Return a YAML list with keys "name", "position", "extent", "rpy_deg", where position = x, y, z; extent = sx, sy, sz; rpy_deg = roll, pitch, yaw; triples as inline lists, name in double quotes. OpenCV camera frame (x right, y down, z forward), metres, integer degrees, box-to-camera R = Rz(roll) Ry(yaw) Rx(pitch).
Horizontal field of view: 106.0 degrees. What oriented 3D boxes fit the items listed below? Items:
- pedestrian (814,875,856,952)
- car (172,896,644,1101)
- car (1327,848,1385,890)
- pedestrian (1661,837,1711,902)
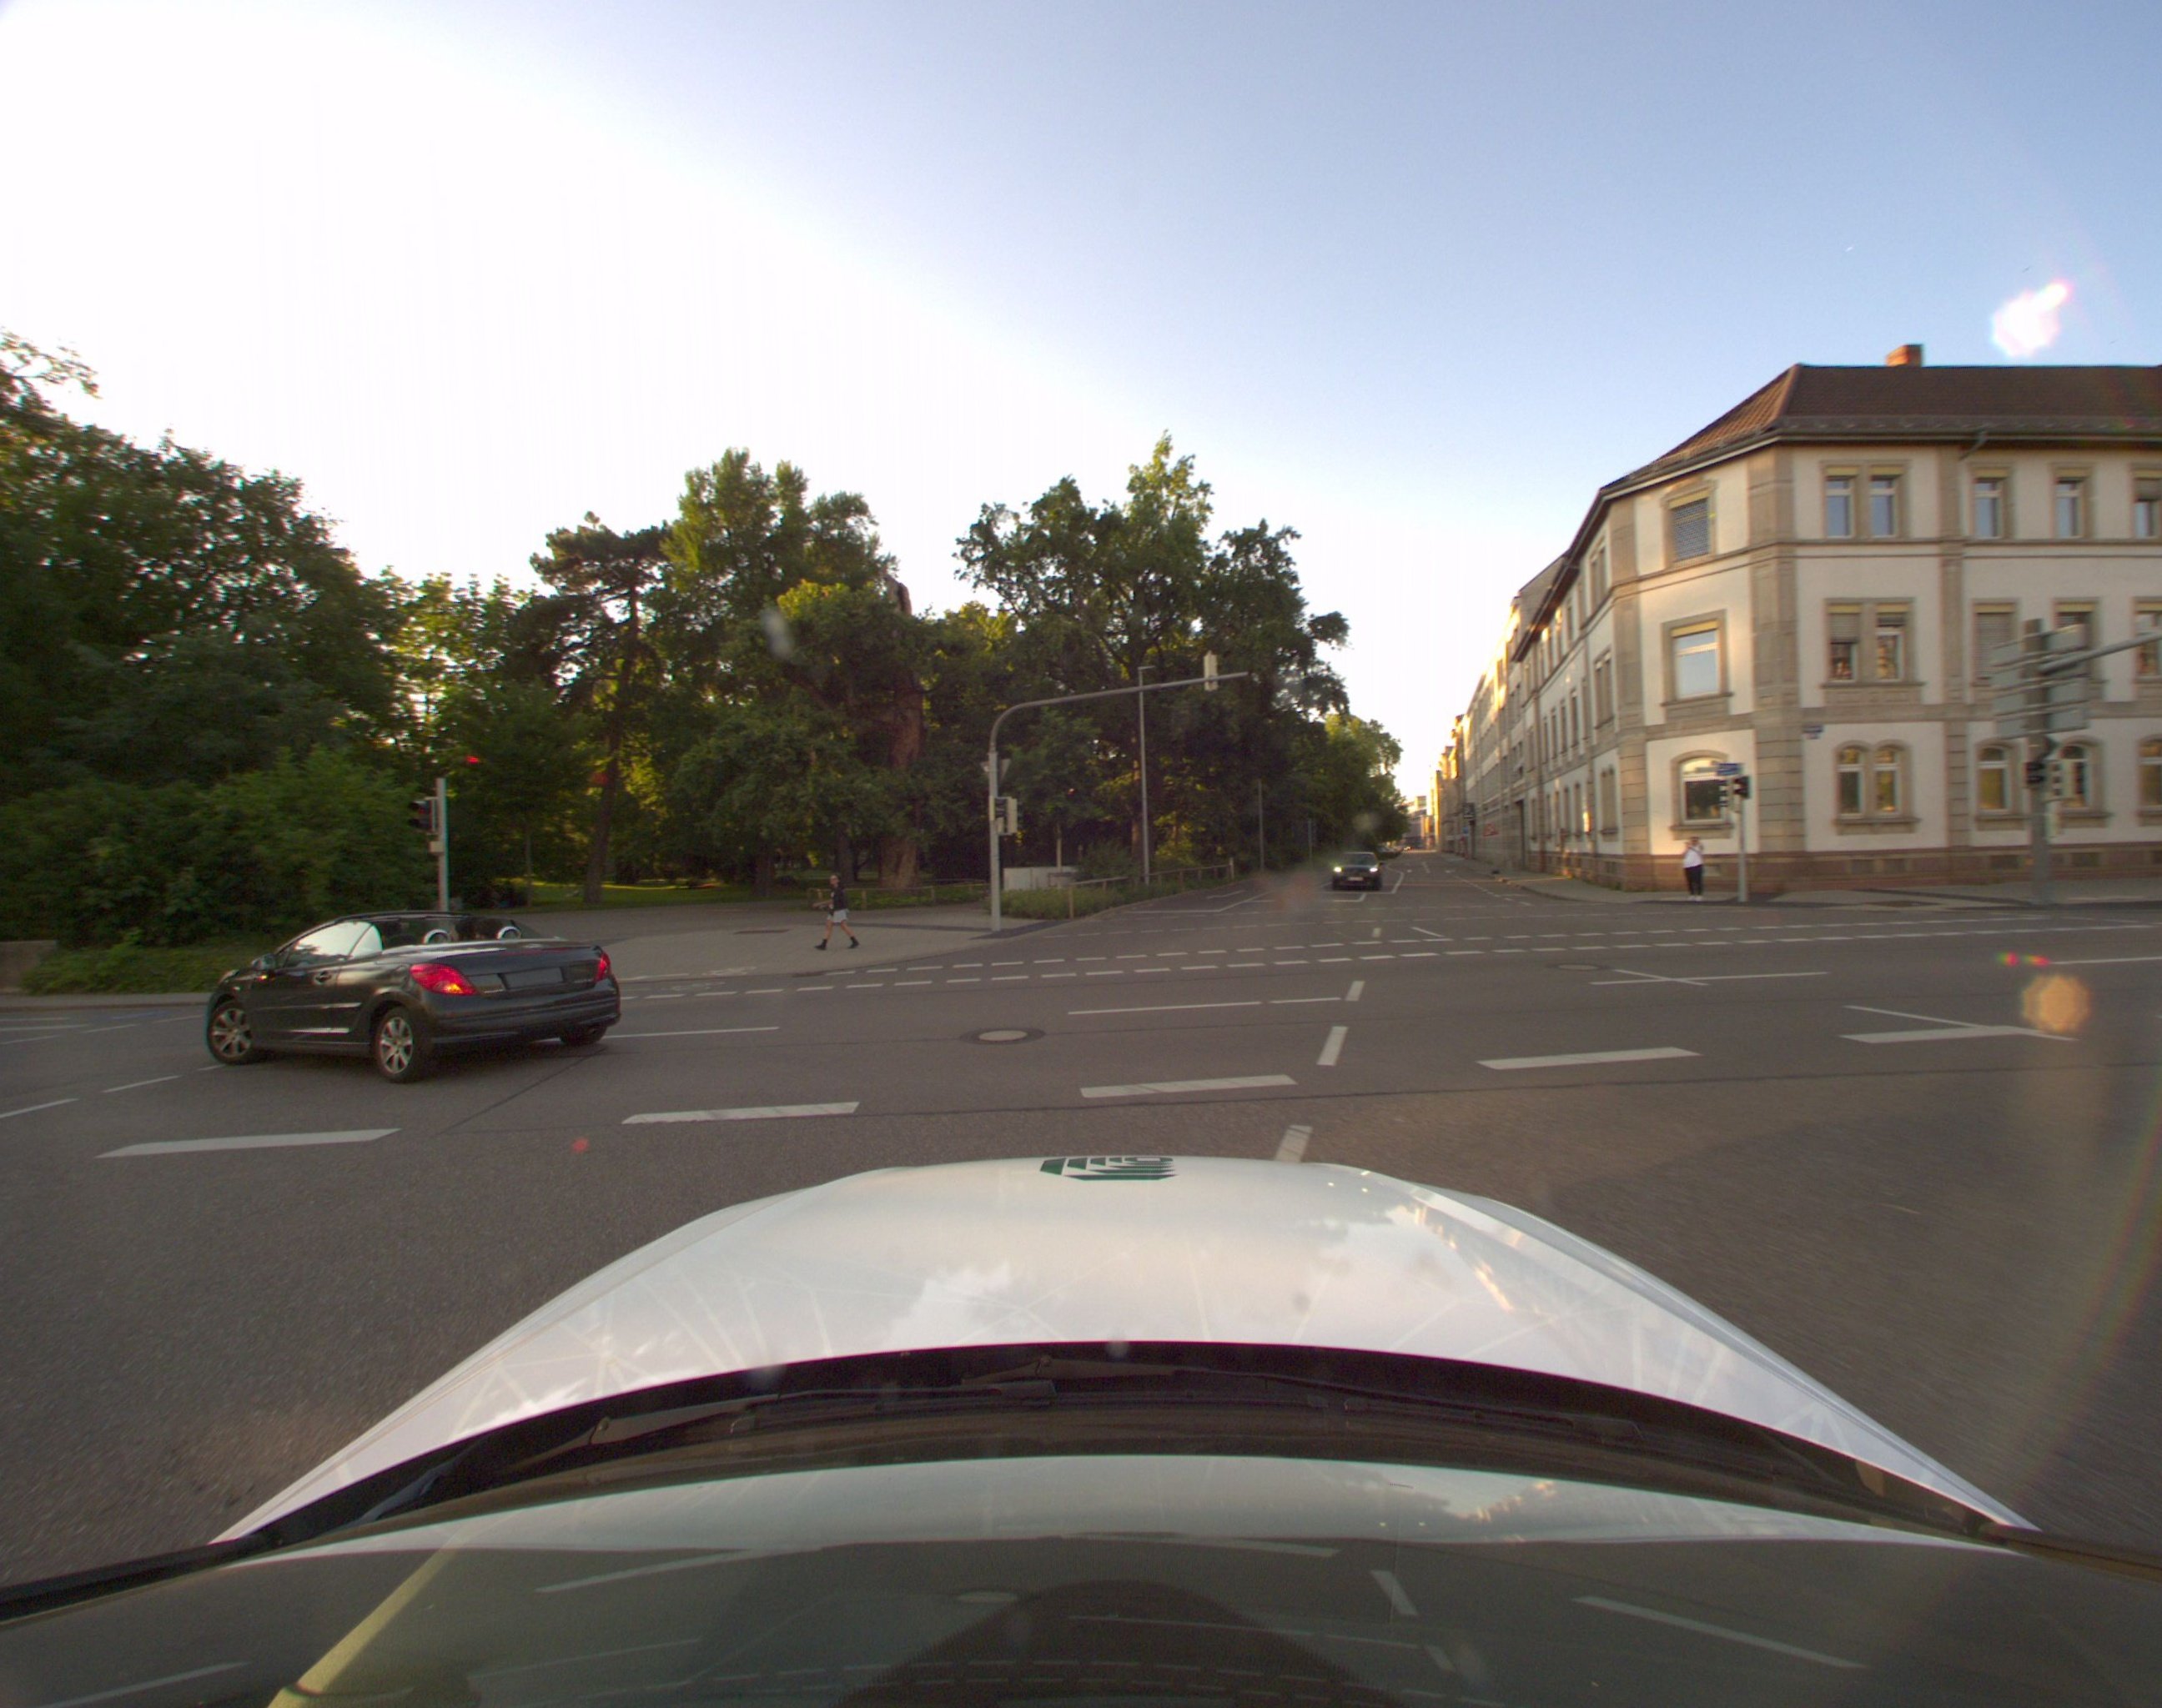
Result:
- name: "pedestrian"
  position: [-4.963, 1.192, 16.462]
  extent: [0.614, 1.504, 0.581]
  rpy_deg: [-2, 0, 2]
- name: "car"
  position: [-6.327, 1.203, 7.688]
  extent: [3.855, 1.449, 1.733]
  rpy_deg: [-2, 0, 21]
- name: "car"
  position: [10.728, 0.554, 31.609]
  extent: [1.807, 1.517, 3.596]
  rpy_deg: [-1, 0, 24]
- name: "pedestrian"
  position: [15.924, 0.405, 21.443]
  extent: [0.637, 1.656, 0.812]
  rpy_deg: [-2, 0, -23]
